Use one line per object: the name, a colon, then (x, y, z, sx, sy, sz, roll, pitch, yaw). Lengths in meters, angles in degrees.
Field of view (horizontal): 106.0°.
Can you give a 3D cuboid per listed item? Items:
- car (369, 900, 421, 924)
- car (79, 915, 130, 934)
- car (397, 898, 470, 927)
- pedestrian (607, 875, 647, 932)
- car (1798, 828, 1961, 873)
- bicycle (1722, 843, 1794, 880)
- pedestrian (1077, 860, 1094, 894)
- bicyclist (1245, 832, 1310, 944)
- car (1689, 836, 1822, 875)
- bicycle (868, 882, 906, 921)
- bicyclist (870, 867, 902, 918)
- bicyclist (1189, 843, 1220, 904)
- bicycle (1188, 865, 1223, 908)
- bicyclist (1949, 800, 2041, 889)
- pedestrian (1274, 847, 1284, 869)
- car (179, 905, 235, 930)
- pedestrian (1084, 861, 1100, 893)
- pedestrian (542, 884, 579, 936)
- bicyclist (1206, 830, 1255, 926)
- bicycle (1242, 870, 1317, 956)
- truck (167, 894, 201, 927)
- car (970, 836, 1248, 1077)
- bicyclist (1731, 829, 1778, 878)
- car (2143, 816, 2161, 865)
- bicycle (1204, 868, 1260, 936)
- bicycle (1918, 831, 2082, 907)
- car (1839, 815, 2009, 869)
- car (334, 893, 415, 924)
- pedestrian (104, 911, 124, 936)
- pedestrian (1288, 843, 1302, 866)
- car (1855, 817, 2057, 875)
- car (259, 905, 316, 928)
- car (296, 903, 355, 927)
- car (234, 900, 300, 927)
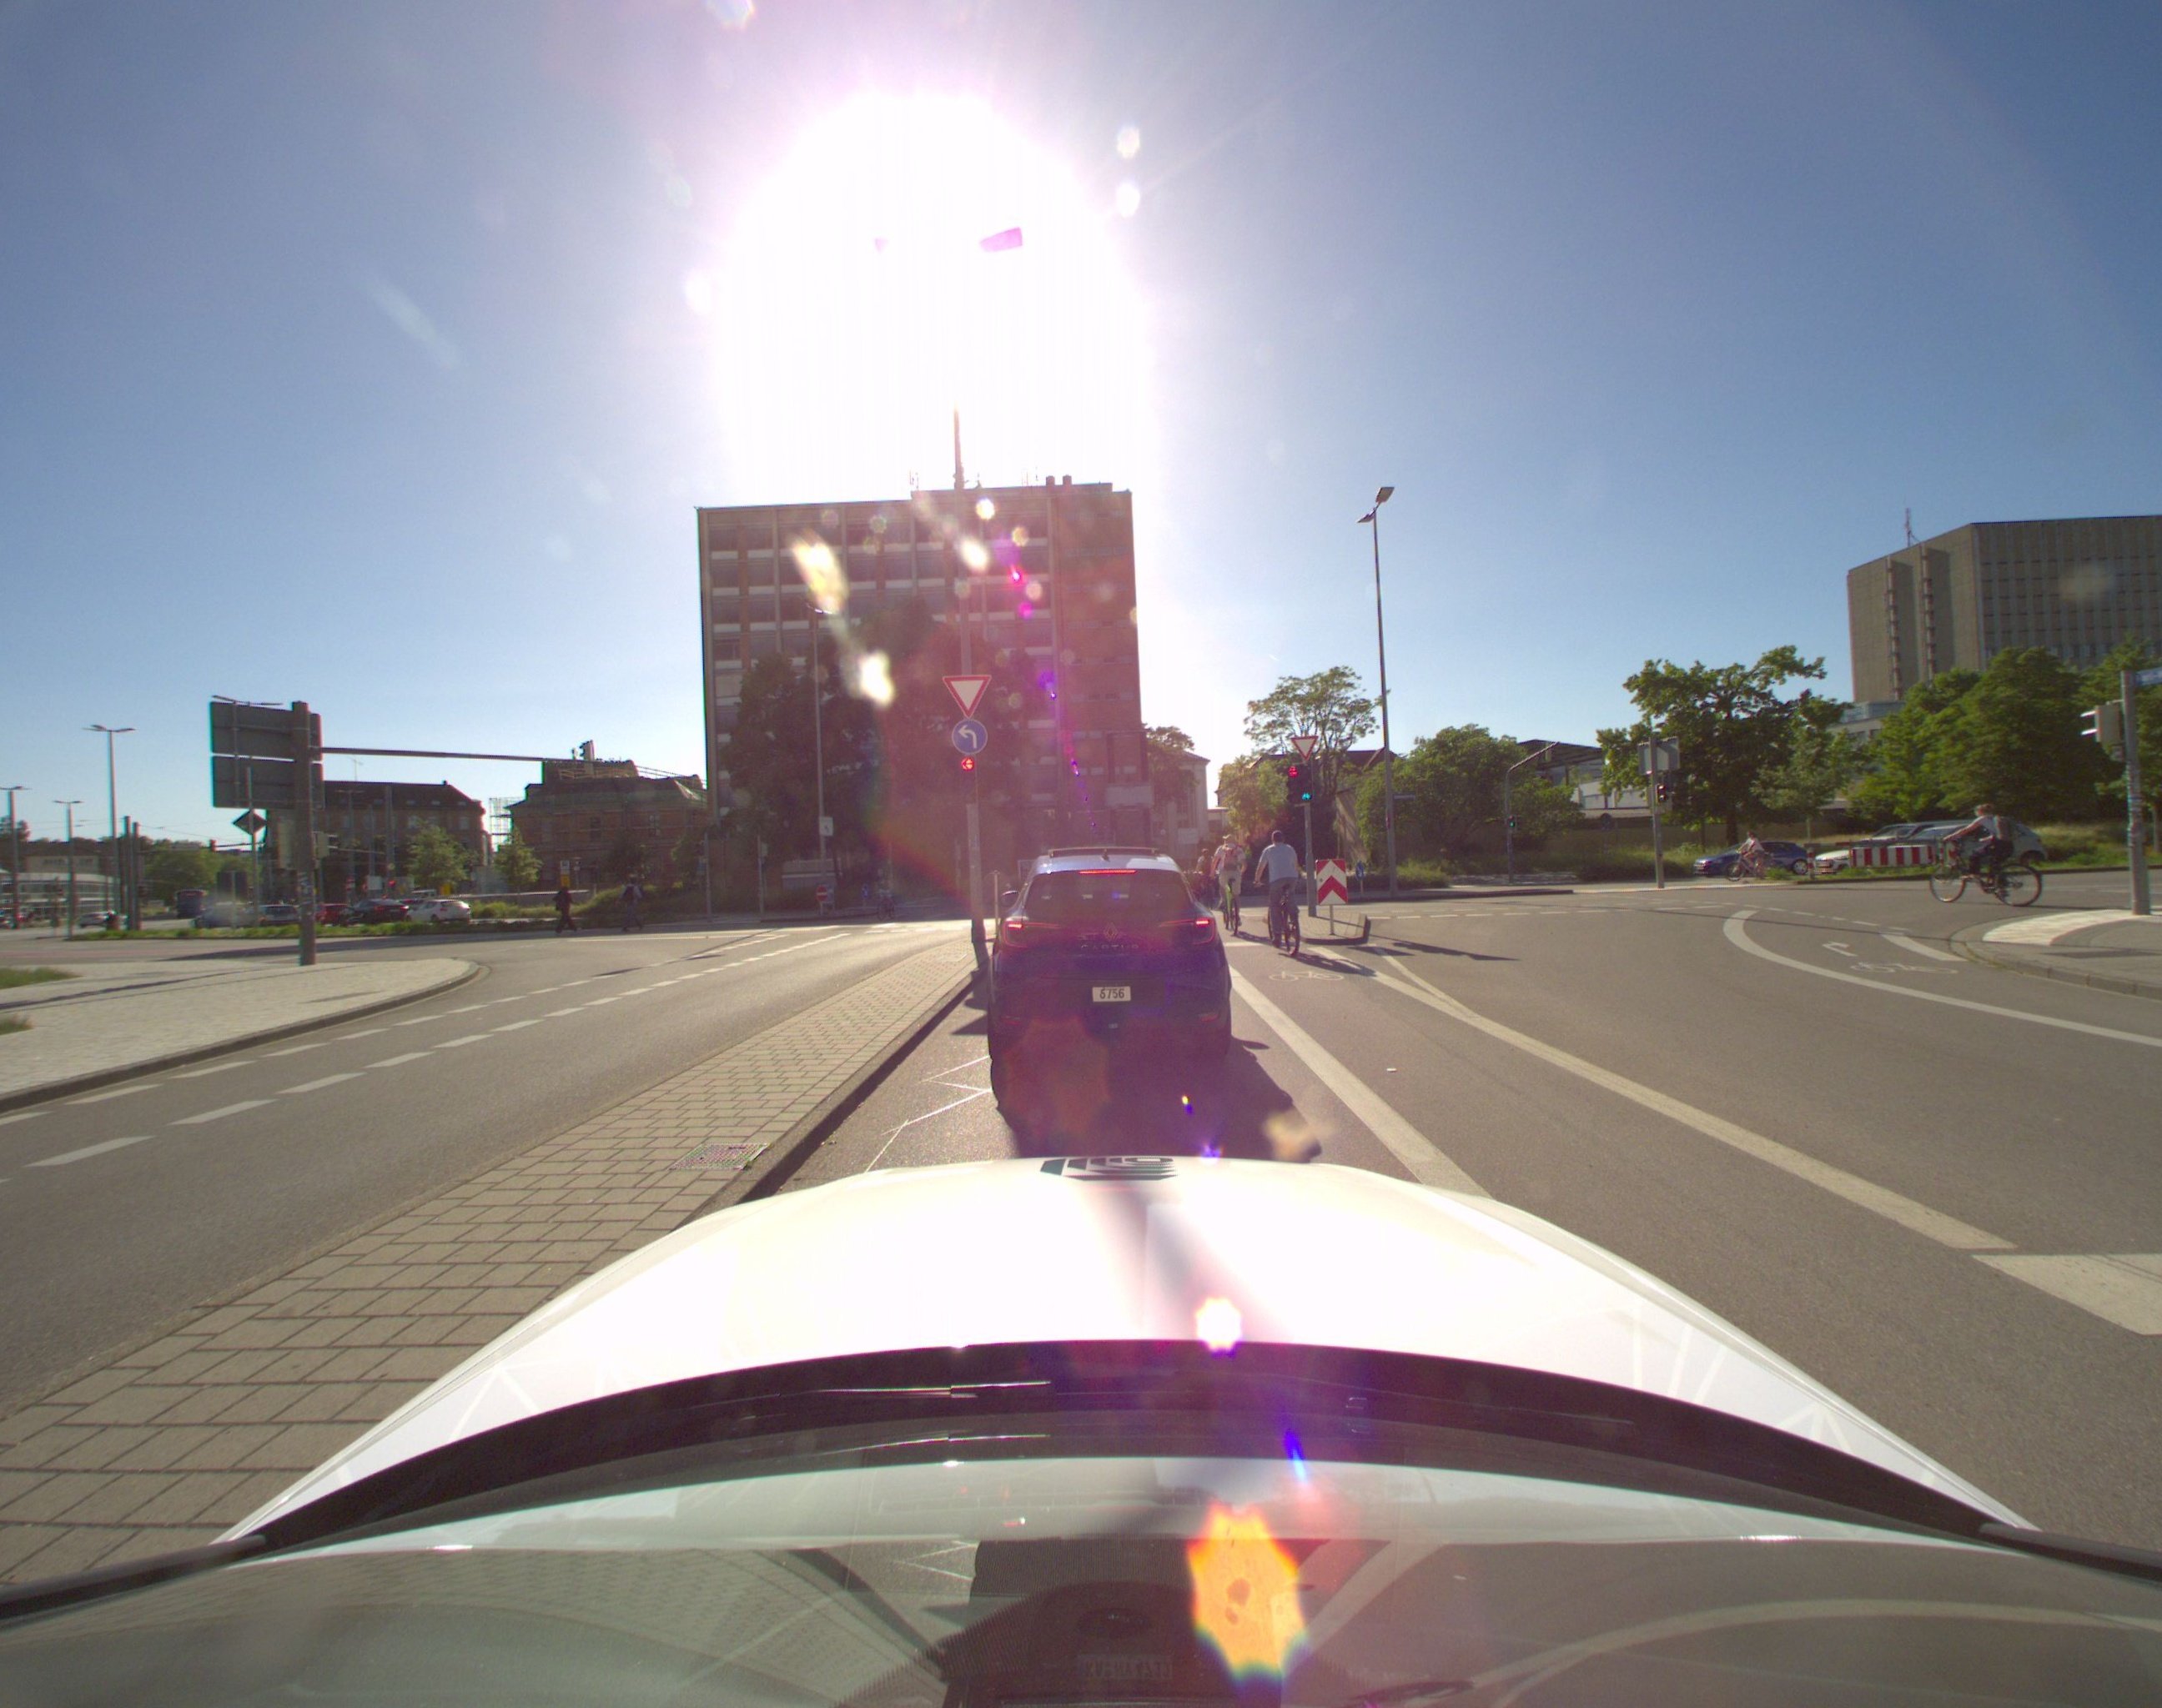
car: (-50.404, 4.278, 59.831, 3.578, 1.618, 1.894, -4, -3, 31)
car: (-93.066, 6.714, 77.669, 1.790, 1.544, 3.608, 0, -1, -27)
car: (-36.495, 3.311, 45.903, 3.690, 1.436, 1.706, -3, -1, 24)
pedestrian: (-15.185, 1.654, 27.251, 0.753, 1.833, 1.093, -2, -2, -6)
car: (30.337, -0.113, 31.075, 3.962, 1.469, 2.005, -3, -1, 10)
bicycle: (24.124, 0.263, 29.039, 1.856, 1.165, 0.749, -4, -1, 3)
pedestrian: (0.238, 1.247, 44.565, 0.727, 1.816, 0.735, -1, -1, 19)
bicyclist: (2.991, 0.499, 12.493, 0.717, 1.617, 0.978, -2, -1, 1)
car: (28.162, 0.076, 34.102, 3.967, 1.442, 1.707, -2, -2, 5)
bicycle: (-6.605, 1.600, 27.806, 0.743, 1.165, 1.871, -4, -1, 2)
bicyclist: (-6.624, 1.296, 27.723, 0.717, 1.621, 0.978, -4, -1, 1)
bicyclist: (3.612, 0.561, 23.822, 0.717, 1.735, 0.978, -2, -1, 1)
bicycle: (3.632, 0.933, 23.831, 0.743, 1.165, 1.871, -2, 0, 2)
bicyclist: (15.473, -0.164, 13.802, 0.639, 1.444, 0.777, -3, 1, 0)
pedestrian: (15.317, 0.316, 62.952, 0.670, 1.643, 0.739, -1, -1, 17)
car: (-55.186, 4.025, 51.388, 3.859, 1.443, 1.741, -3, -3, 33)
pedestrian: (0.618, 1.268, 45.330, 0.727, 1.782, 0.735, -1, -1, 19)
pedestrian: (-16.847, 1.809, 26.342, 0.710, 1.612, 0.686, -3, -1, 24)
bicyclist: (2.861, 0.449, 15.706, 0.717, 1.763, 0.978, -2, -1, 1)
bicycle: (3.009, 0.862, 12.495, 0.713, 1.165, 1.871, -2, 0, 2)
truck: (-108.081, 6.744, 98.111, 5.159, 3.675, 2.618, -1, -1, 42)
car: (0.245, 0.703, 7.391, 1.870, 1.617, 3.799, 0, 0, 2)
bicyclist: (24.010, -0.017, 29.047, 0.970, 1.685, 0.747, -4, -1, 3)
car: (36.862, -0.555, 25.315, 4.685, 1.554, 1.987, -2, -2, 5)
bicycle: (2.884, 0.889, 15.738, 0.743, 1.165, 1.871, -2, 0, 2)
bicycle: (15.496, 0.224, 13.815, 0.639, 1.165, 1.870, -3, 1, 0)
car: (34.822, -0.452, 33.761, 4.718, 1.953, 1.942, -2, -2, 5)
car: (-42.617, 3.309, 49.105, 4.324, 1.624, 2.002, -3, -1, 24)
pedestrian: (-62.826, 4.523, 52.908, 0.565, 1.611, 0.573, 0, -1, 1)
pedestrian: (15.481, 0.024, 58.847, 0.740, 1.643, 0.670, 0, -1, -41)
car: (28.020, -0.209, 26.202, 4.281, 1.625, 1.792, -2, -2, 5)
car: (-53.607, 4.219, 55.013, 3.750, 1.443, 1.741, -3, -3, 29)
car: (-47.993, 3.890, 51.719, 3.674, 1.443, 1.687, -3, -3, 29)
car: (-48.847, 3.568, 48.871, 3.750, 1.442, 1.741, -3, -1, 28)
